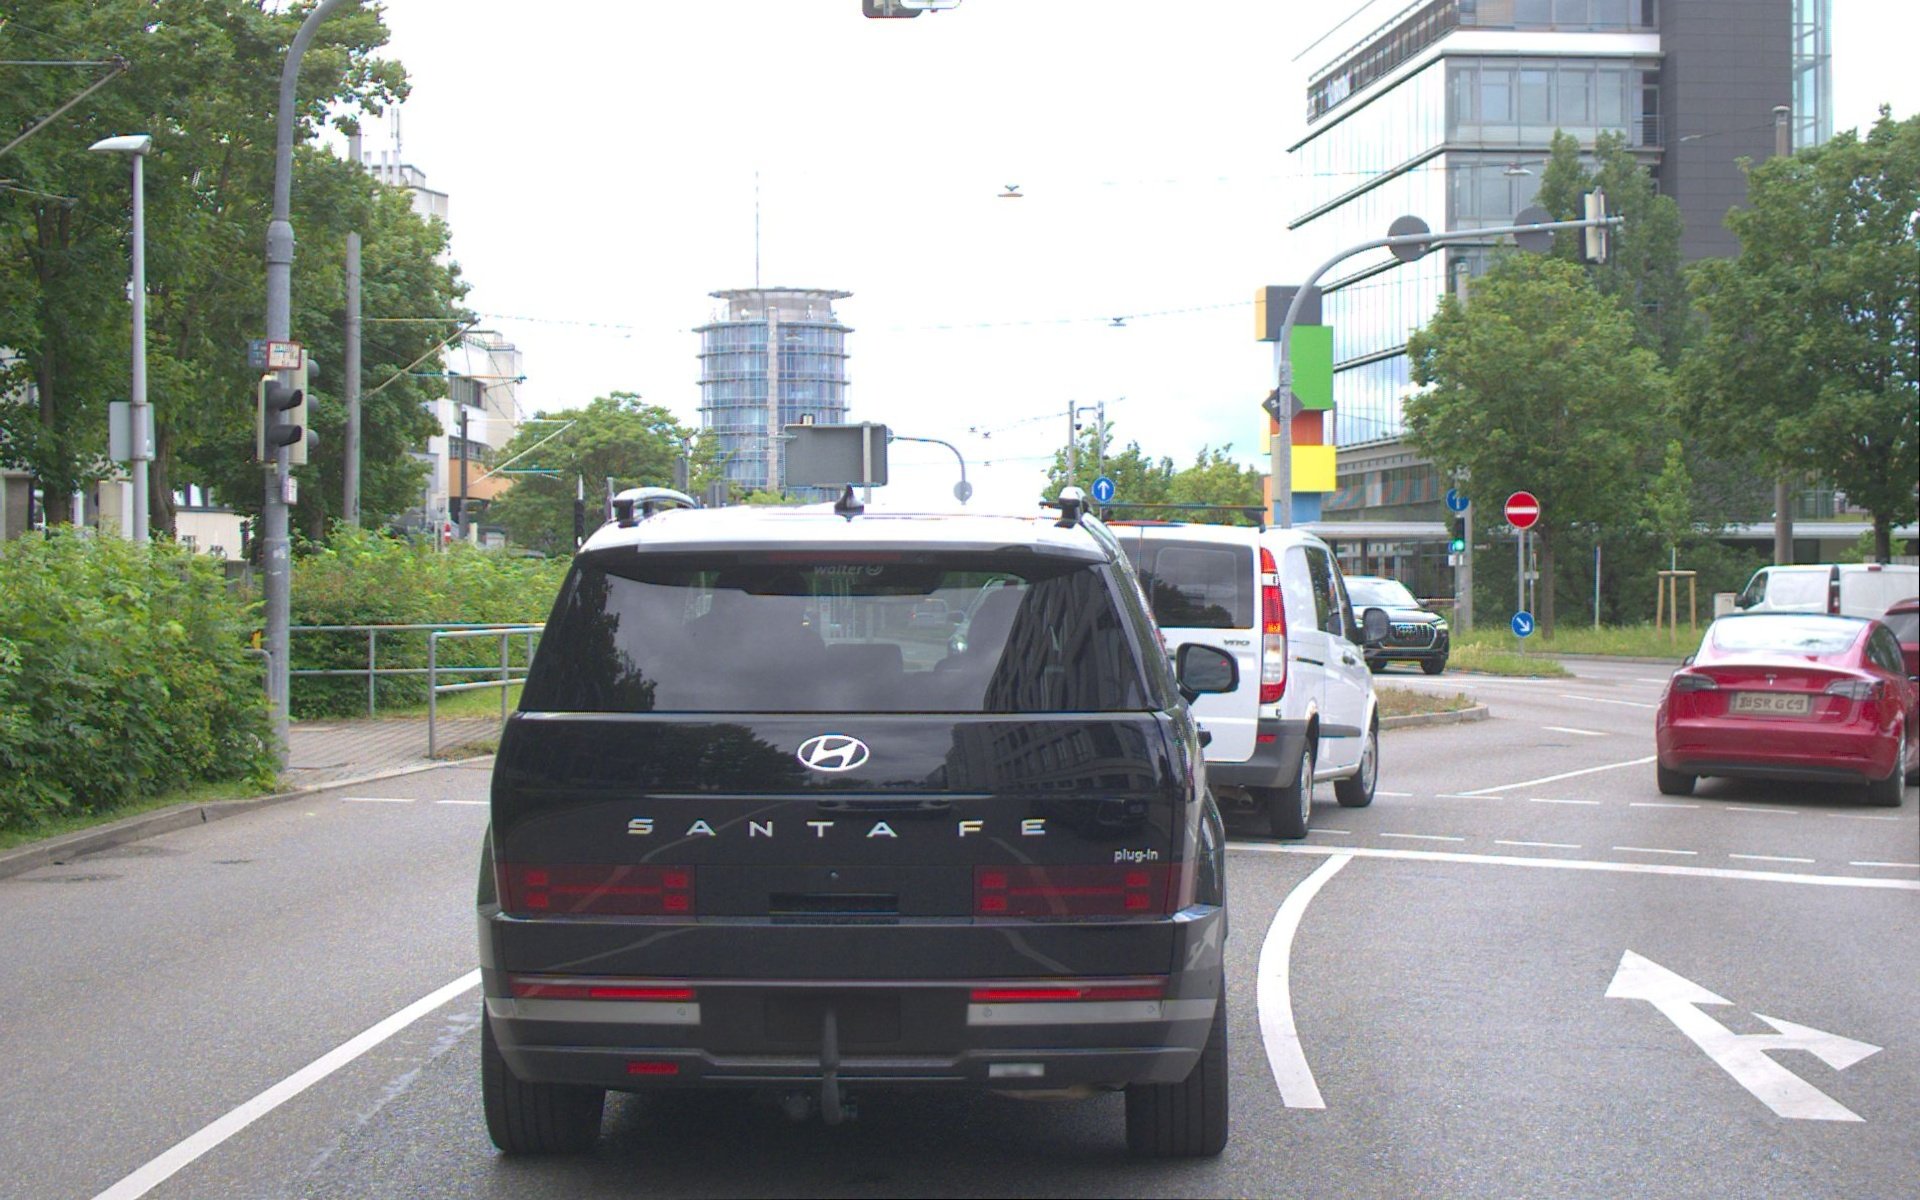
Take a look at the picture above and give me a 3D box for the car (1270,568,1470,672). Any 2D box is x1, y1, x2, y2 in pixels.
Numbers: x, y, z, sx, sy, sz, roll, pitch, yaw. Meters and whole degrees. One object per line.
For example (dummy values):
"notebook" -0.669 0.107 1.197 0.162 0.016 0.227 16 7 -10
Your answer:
"car" 6.788 0.306 57.421 1.887 1.559 4.397 1 1 -13

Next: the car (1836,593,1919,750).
"car" 10.015 0.695 34.511 1.747 1.476 3.714 2 1 24

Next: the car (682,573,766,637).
"car" -6.249 0.123 90.550 1.782 1.532 4.397 1 1 -9

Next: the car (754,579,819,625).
"car" -5.592 0.078 110.317 1.798 1.450 4.613 0 0 -6

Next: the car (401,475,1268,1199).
"car" -0.221 0.592 9.939 1.902 1.725 4.446 2 0 2

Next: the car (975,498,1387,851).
"car" 1.541 0.414 22.074 1.903 1.962 4.633 2 0 12

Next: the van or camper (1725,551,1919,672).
"van or camper" 14.796 0.165 58.643 1.993 1.911 4.410 1 1 -7

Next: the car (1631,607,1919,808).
"car" 6.795 0.796 27.556 1.875 1.413 4.437 2 1 23
